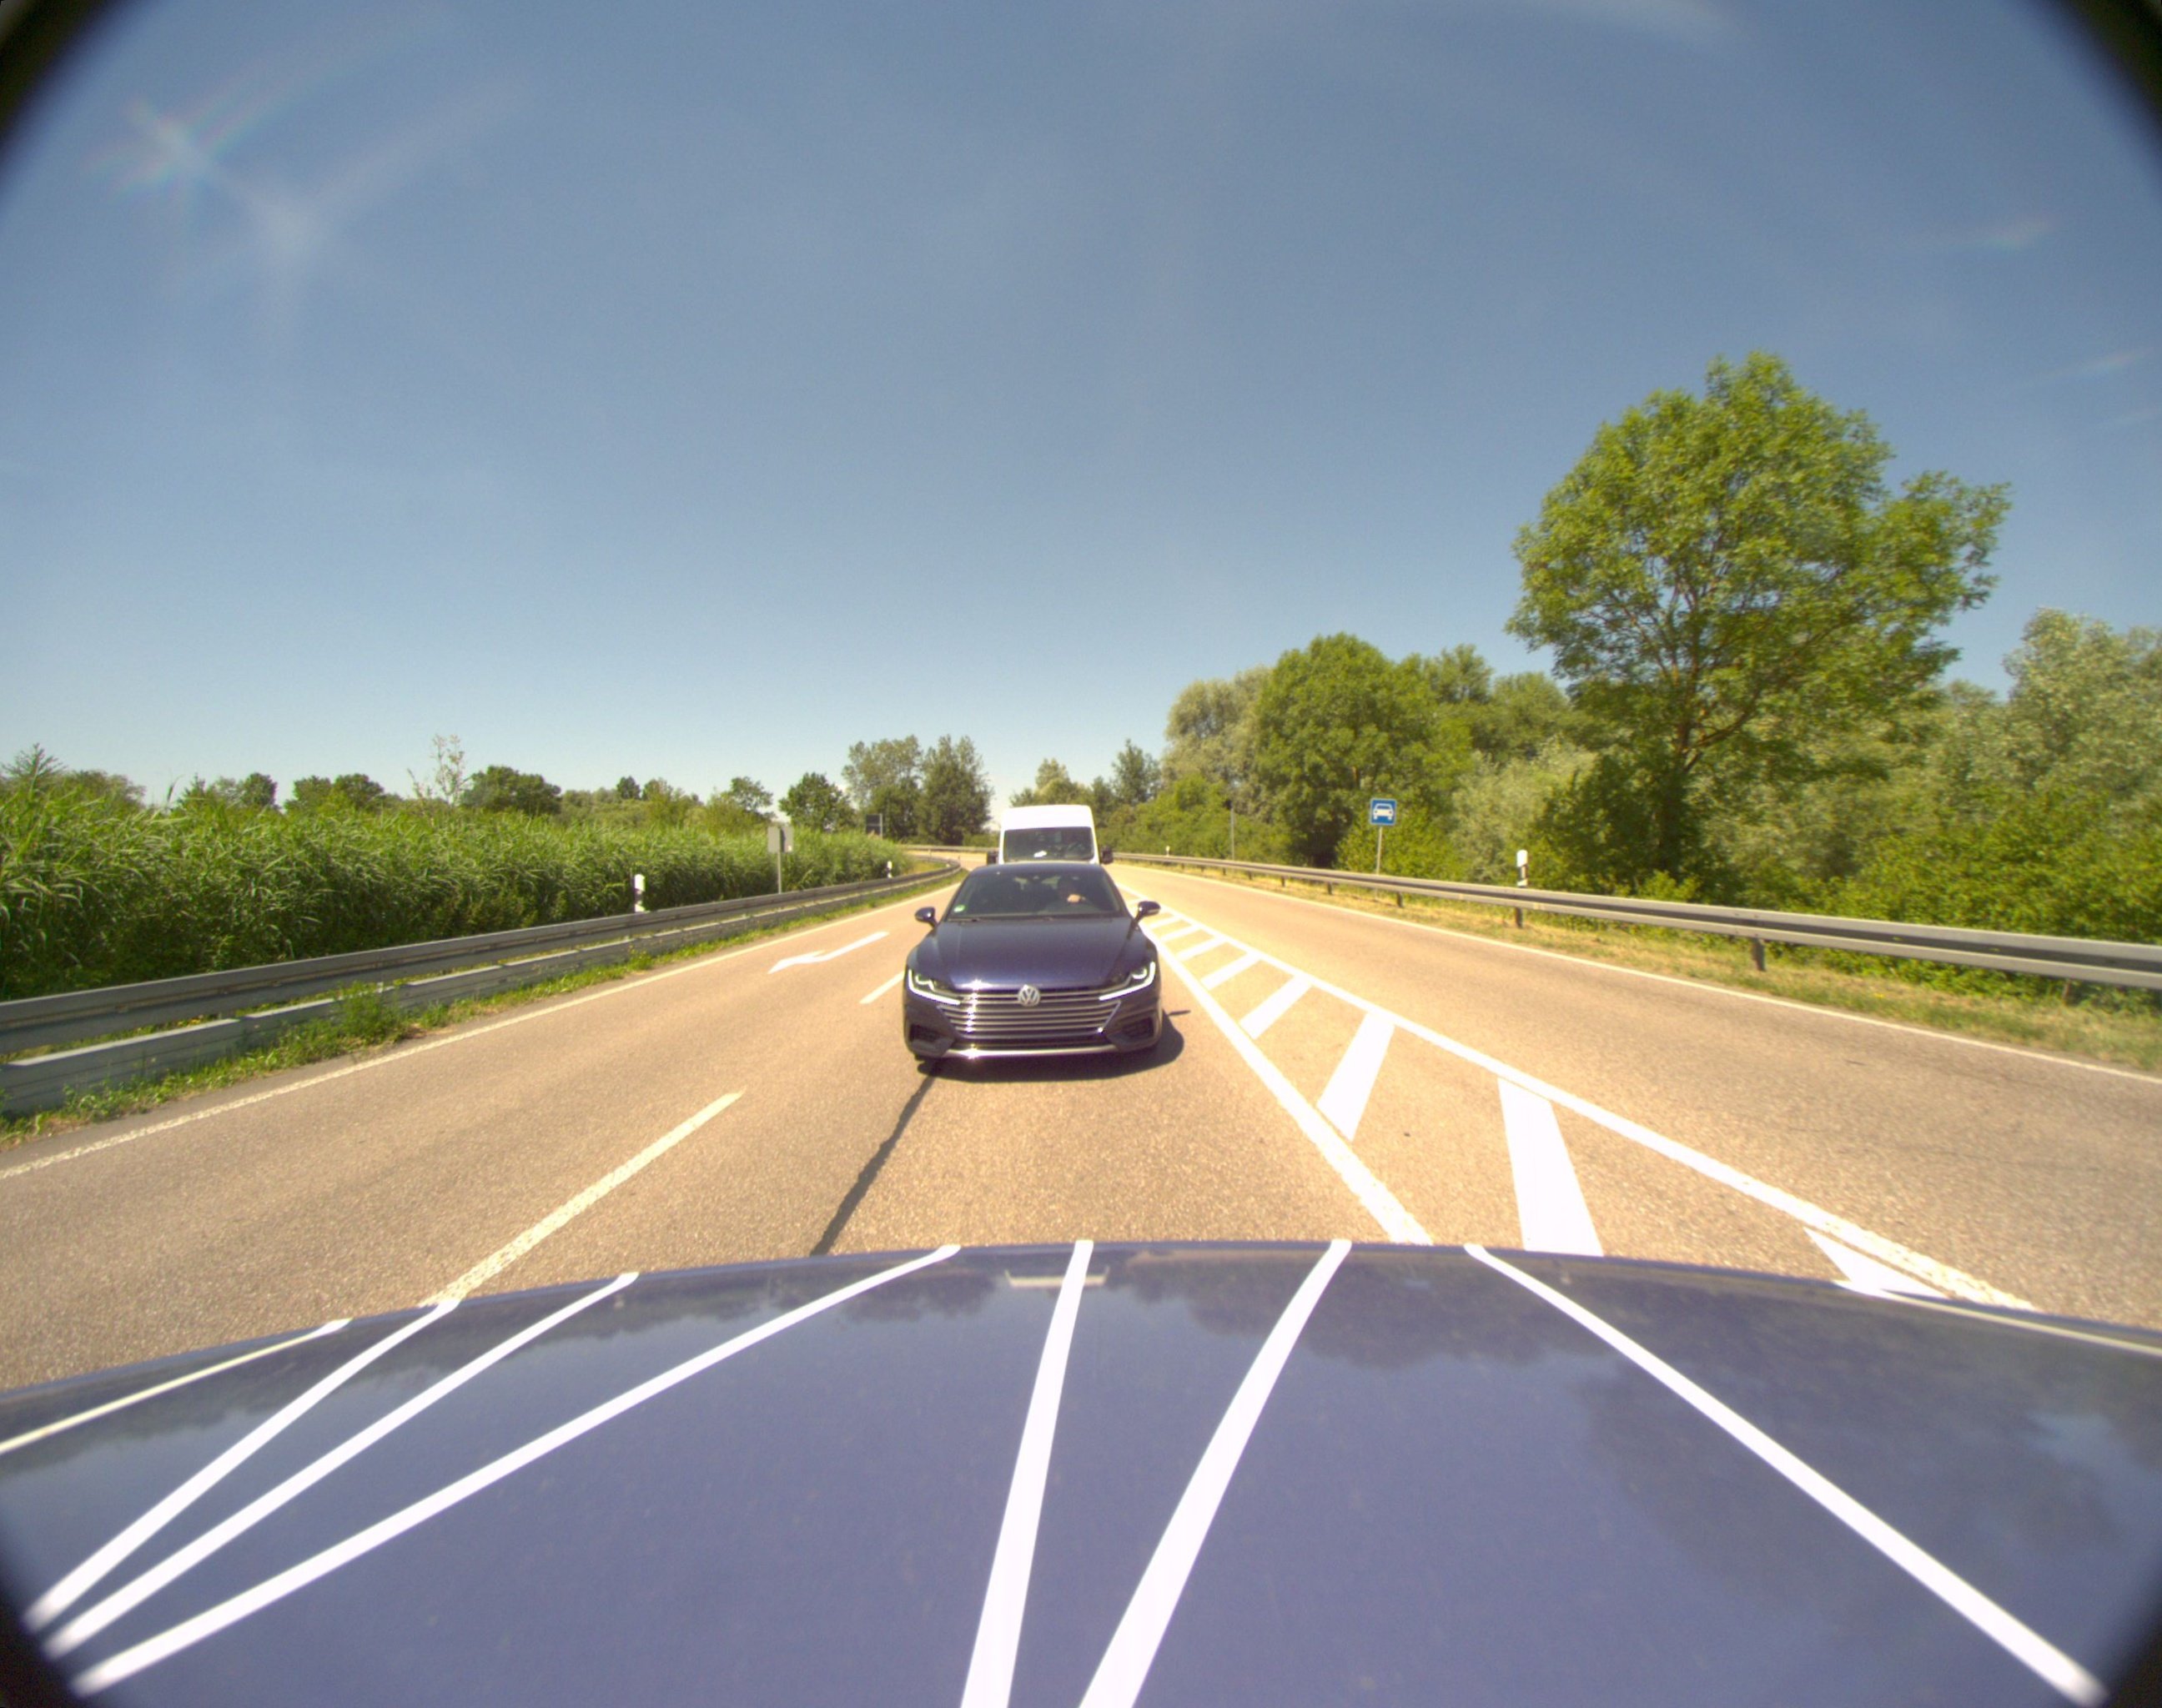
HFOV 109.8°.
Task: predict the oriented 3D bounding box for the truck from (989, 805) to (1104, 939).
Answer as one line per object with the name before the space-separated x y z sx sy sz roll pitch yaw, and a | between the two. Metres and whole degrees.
truck | -0.800 0.295 16.659 2.011 2.365 5.909 -2 1 -4

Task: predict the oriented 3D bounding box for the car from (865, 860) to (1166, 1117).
car | -0.377 0.853 6.898 1.819 1.454 4.415 -2 1 1
